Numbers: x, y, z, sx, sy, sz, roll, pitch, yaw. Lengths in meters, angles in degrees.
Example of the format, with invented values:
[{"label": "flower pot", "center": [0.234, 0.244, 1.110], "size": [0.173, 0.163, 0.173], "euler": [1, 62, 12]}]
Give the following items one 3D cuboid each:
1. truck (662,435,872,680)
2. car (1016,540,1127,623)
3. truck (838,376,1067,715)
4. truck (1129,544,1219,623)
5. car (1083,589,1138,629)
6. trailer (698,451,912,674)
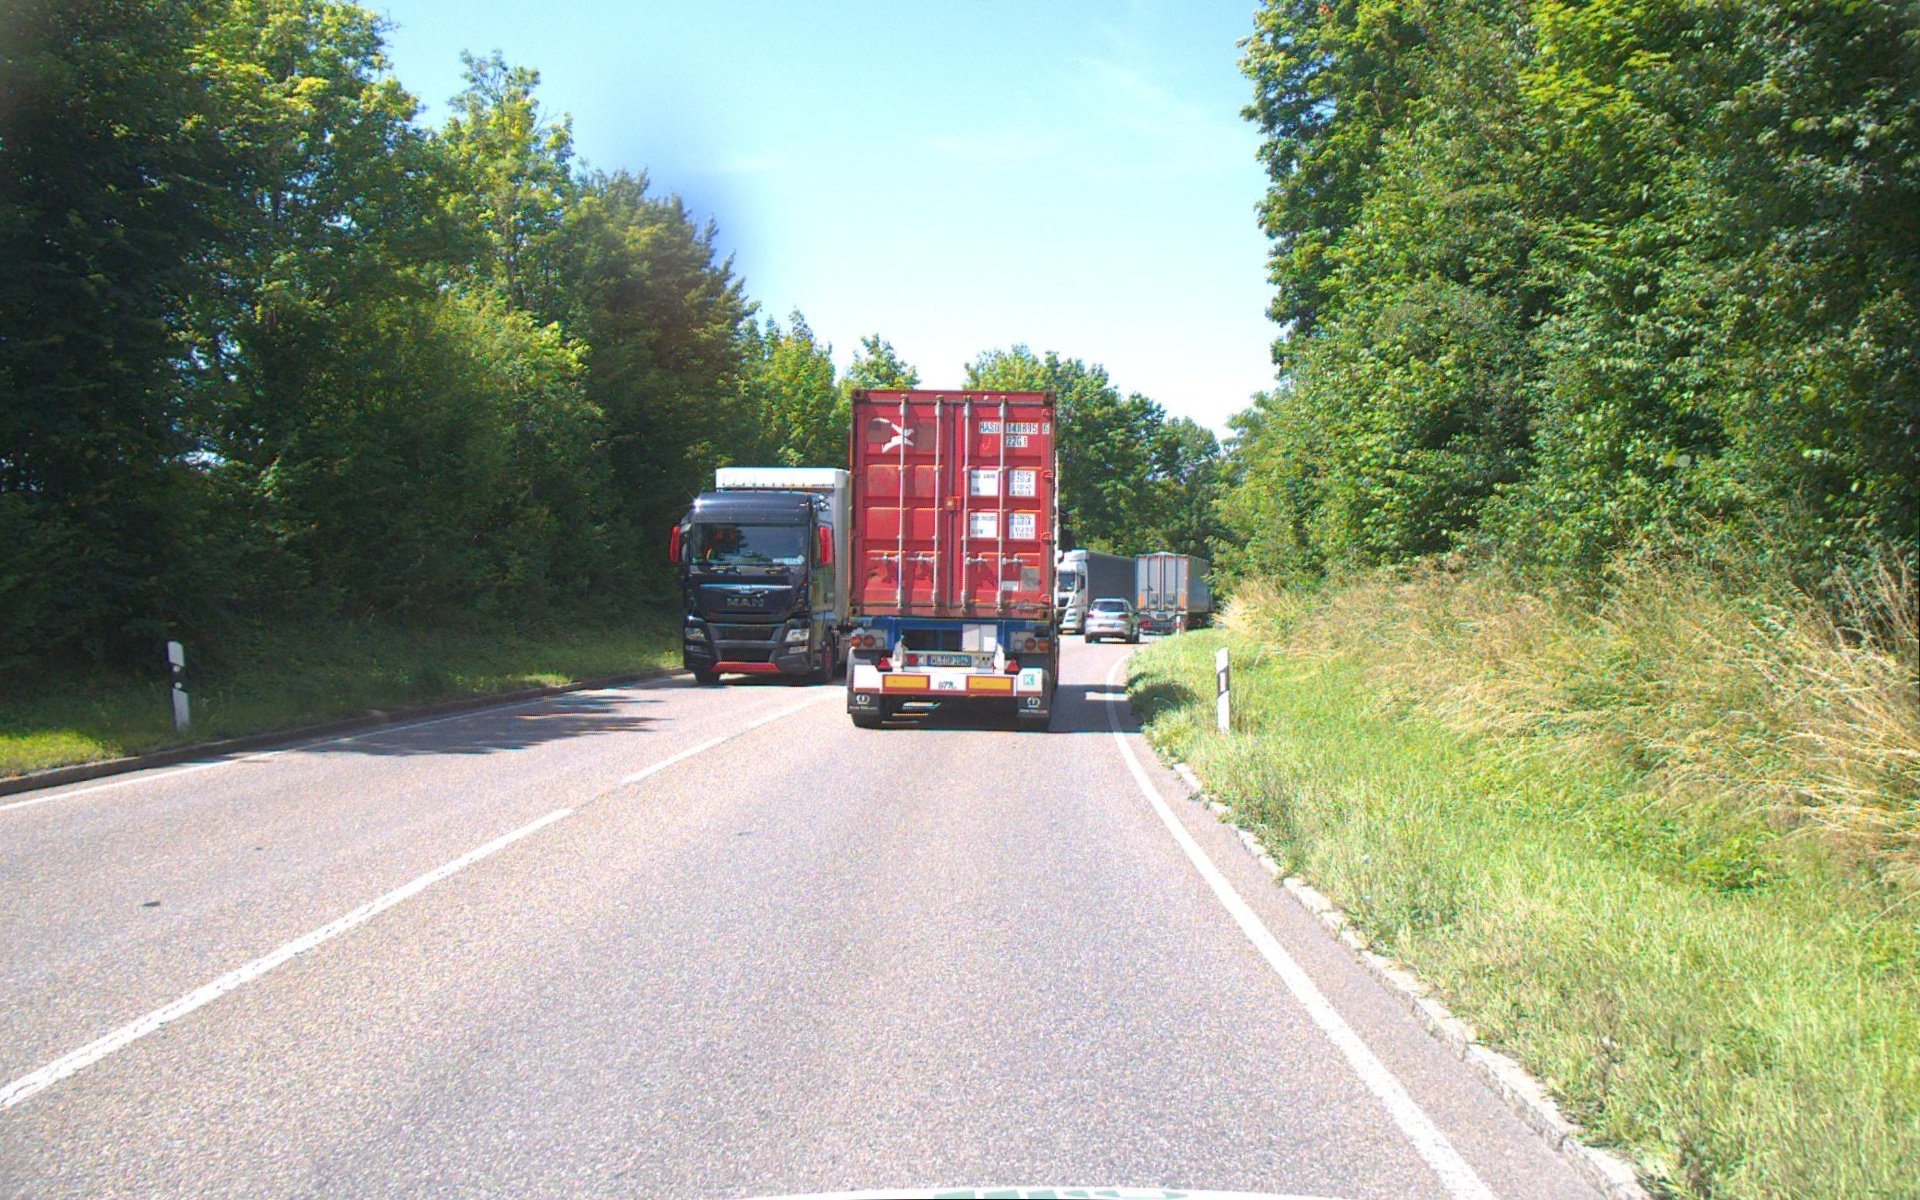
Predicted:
[{"label": "truck", "center": [-3.534, -0.728, 31.845], "size": [2.860, 4.256, 5.922], "euler": [1, 0, 5]}, {"label": "car", "center": [5.973, -0.909, 85.665], "size": [3.196, 3.941, 12.754], "euler": [0, 0, 16]}, {"label": "truck", "center": [0.317, -0.597, 25.661], "size": [2.592, 3.873, 13.365], "euler": [1, 0, 3]}, {"label": "truck", "center": [11.273, -0.831, 85.809], "size": [2.859, 3.782, 13.369], "euler": [0, 0, 15]}, {"label": "car", "center": [5.838, 0.350, 63.798], "size": [1.793, 1.458, 4.003], "euler": [-2, -1, 10]}, {"label": "trailer", "center": [-3.140, -0.693, 37.307], "size": [2.860, 4.256, 11.270], "euler": [1, 0, 5]}]
